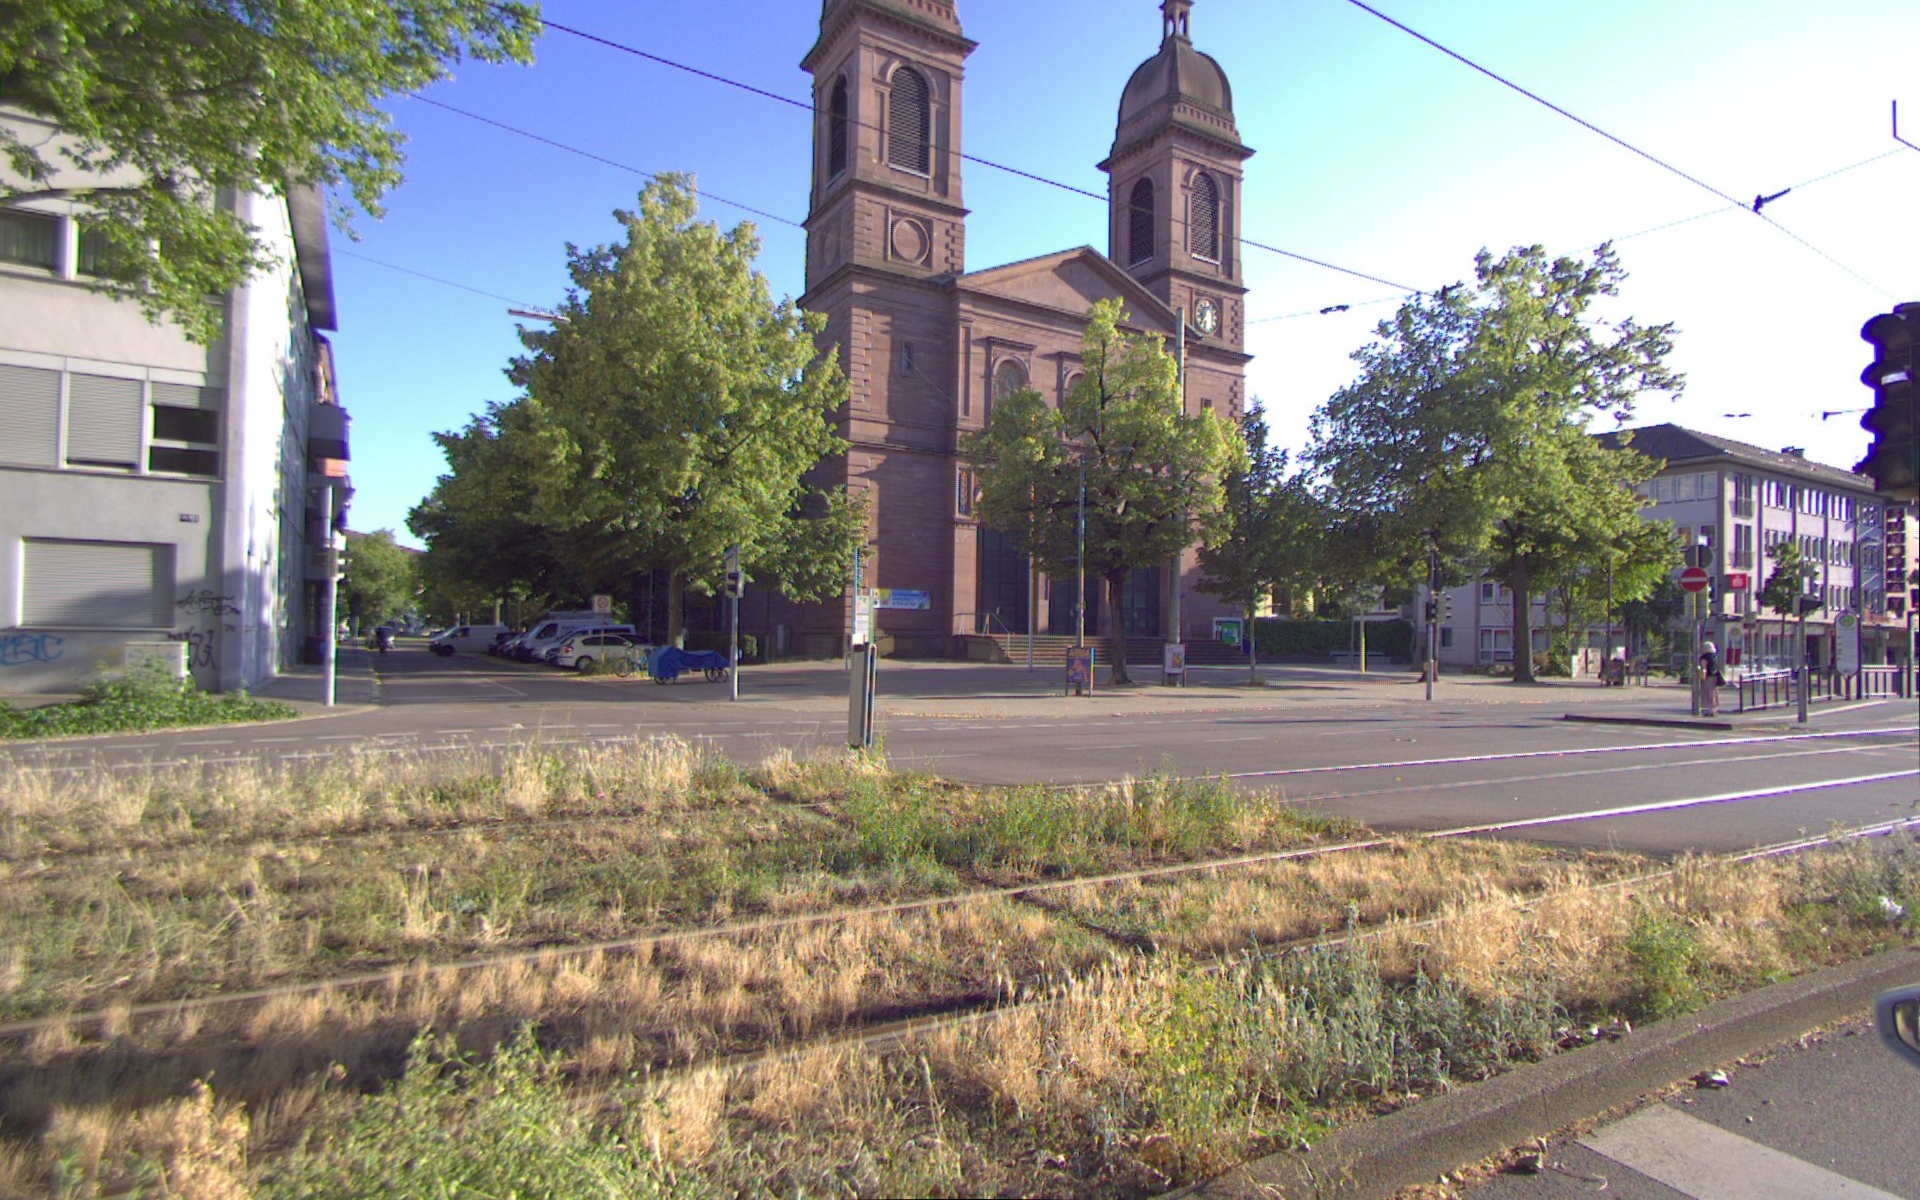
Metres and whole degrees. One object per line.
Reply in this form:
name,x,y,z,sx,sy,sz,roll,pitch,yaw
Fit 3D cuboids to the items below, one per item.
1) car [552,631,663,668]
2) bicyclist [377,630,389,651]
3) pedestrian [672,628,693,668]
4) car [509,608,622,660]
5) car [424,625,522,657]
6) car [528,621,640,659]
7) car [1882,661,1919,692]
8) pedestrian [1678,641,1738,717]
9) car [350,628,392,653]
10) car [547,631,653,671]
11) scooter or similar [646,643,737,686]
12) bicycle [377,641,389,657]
car,-14.240,1.960,40.588,3.954,1.416,1.802,1,-2,-31
bicyclist,-36.861,2.595,64.171,0.625,1.348,0.962,2,-2,-30
pedestrian,-12.559,2.168,45.425,0.684,1.789,0.733,2,-2,-31
car,-20.333,1.777,51.863,5.060,2.551,1.982,2,-2,-34
car,-31.652,2.693,65.402,5.383,2.040,1.976,3,-2,-41
car,-17.635,1.905,47.142,4.655,1.684,1.984,2,-2,-31
car,54.818,4.340,56.898,3.440,1.702,1.772,1,-2,6
pedestrian,17.960,1.882,24.118,0.822,1.783,0.915,3,-2,-29
car,-49.347,3.367,84.114,1.985,2.040,5.359,3,-2,-41
car,-15.371,2.171,42.896,3.954,1.639,1.876,2,-2,-31
scooter or similar,-7.919,1.873,29.657,2.419,1.141,1.088,-1,-1,-31
bicycle,-36.871,3.105,64.172,0.625,0.993,1.974,2,-2,-29
